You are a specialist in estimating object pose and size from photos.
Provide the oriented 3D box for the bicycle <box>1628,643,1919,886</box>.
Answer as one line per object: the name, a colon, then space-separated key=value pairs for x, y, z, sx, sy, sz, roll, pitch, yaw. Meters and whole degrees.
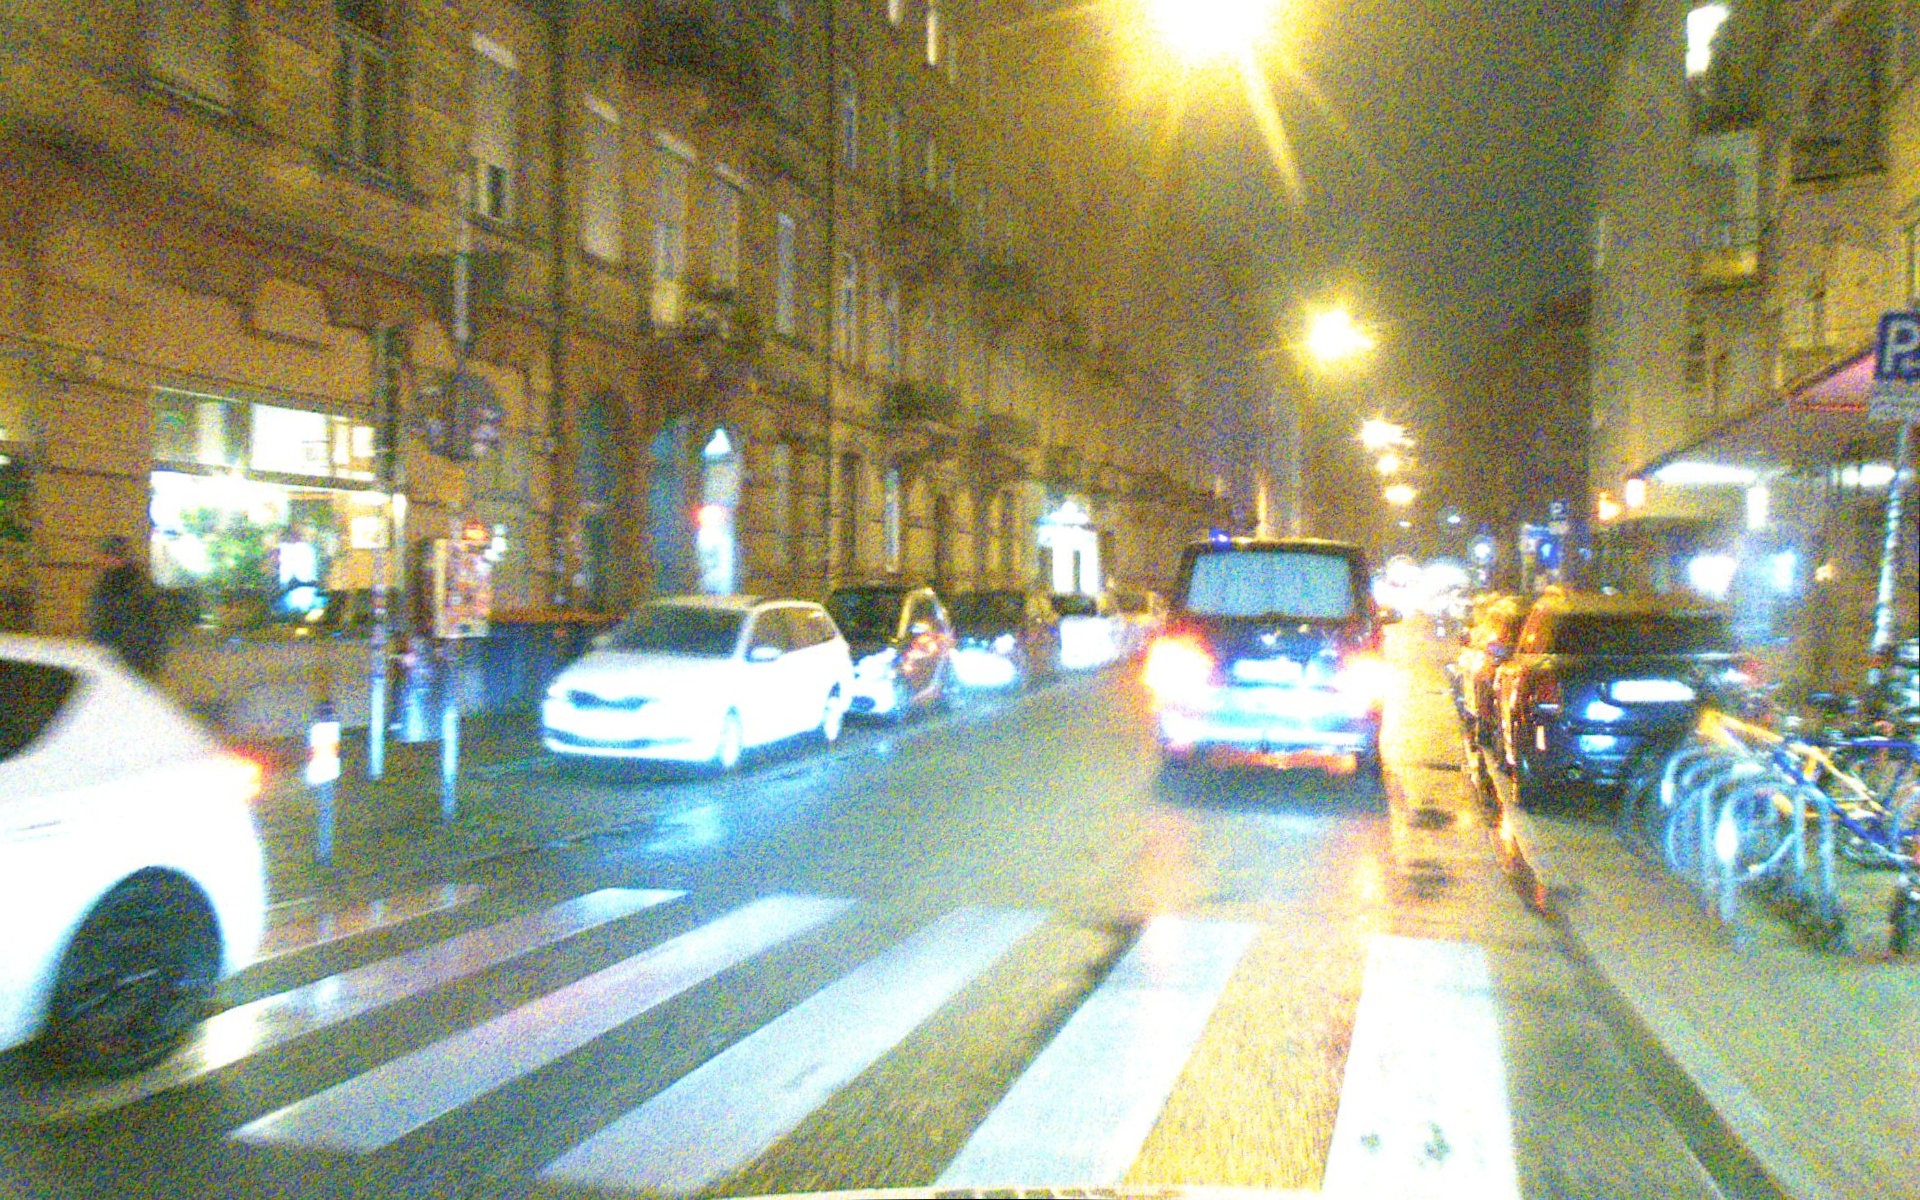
bicycle: x=4.294 y=0.798 z=8.231 sx=1.745 sy=1.144 sz=0.436 roll=-1 pitch=1 yaw=14

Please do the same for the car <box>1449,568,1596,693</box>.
car: x=8.127 y=0.403 z=24.164 sx=1.716 sy=1.636 sz=3.992 roll=1 pitch=0 yaw=15

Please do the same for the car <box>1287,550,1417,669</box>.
car: x=7.055 y=0.100 z=29.908 sx=2.077 sy=1.955 sz=4.830 roll=1 pitch=1 yaw=13

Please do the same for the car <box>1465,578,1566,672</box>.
car: x=9.922 y=0.419 z=29.732 sx=1.558 sy=1.570 sz=3.422 roll=1 pitch=0 yaw=16

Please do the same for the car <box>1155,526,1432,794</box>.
car: x=3.105 y=0.406 z=14.957 sx=2.077 sy=2.026 sz=4.605 roll=1 pitch=1 yaw=14

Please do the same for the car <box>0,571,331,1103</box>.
car: x=-3.658 y=0.682 z=4.089 sx=1.531 sy=1.452 sz=4.069 roll=-1 pitch=1 yaw=23

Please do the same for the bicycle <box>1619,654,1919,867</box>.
bicycle: x=4.578 y=0.863 z=9.104 sx=1.724 sy=1.098 sz=0.436 roll=0 pitch=1 yaw=14

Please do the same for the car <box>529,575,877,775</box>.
car: x=-2.196 y=0.560 z=15.263 sx=1.553 sy=1.488 sz=4.027 roll=3 pitch=2 yaw=16

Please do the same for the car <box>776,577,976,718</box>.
car: x=-0.940 y=0.503 z=19.822 sx=1.553 sy=1.536 sz=2.789 roll=1 pitch=1 yaw=16

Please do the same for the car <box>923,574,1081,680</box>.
car: x=0.704 y=0.348 z=25.183 sx=1.553 sy=1.474 sz=3.505 roll=1 pitch=1 yaw=16

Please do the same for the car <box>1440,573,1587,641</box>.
car: x=17.196 y=0.214 z=51.501 sx=3.905 sy=2.049 sz=2.000 roll=0 pitch=-1 yaw=0

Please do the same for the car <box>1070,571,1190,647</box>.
car: x=3.792 y=0.148 z=36.198 sx=1.717 sy=1.474 sz=4.626 roll=3 pitch=2 yaw=17

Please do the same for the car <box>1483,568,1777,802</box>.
car: x=5.358 y=0.587 z=13.718 sx=1.716 sy=1.593 sz=4.157 roll=1 pitch=0 yaw=15

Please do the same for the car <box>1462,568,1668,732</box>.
car: x=6.579 y=0.481 z=18.379 sx=1.716 sy=1.564 sz=4.401 roll=1 pitch=0 yaw=15

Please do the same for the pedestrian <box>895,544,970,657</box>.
pedestrian: x=-0.467 y=0.003 z=28.726 sx=1.010 sy=1.897 sz=0.978 roll=2 pitch=1 yaw=16

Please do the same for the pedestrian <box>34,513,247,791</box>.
pedestrian: x=-5.617 y=0.327 z=11.374 sx=0.787 sy=1.796 sz=1.015 roll=2 pitch=1 yaw=22

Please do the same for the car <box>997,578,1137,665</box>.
car: x=2.033 y=0.341 z=30.256 sx=1.654 sy=1.425 sz=4.320 roll=1 pitch=1 yaw=16

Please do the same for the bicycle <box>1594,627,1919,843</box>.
bicycle: x=4.689 y=0.789 z=9.678 sx=1.724 sy=1.144 sz=0.436 roll=-4 pitch=0 yaw=14

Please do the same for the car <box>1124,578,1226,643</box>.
car: x=5.371 y=0.224 z=40.894 sx=1.951 sy=1.474 sz=4.003 roll=2 pitch=1 yaw=15
